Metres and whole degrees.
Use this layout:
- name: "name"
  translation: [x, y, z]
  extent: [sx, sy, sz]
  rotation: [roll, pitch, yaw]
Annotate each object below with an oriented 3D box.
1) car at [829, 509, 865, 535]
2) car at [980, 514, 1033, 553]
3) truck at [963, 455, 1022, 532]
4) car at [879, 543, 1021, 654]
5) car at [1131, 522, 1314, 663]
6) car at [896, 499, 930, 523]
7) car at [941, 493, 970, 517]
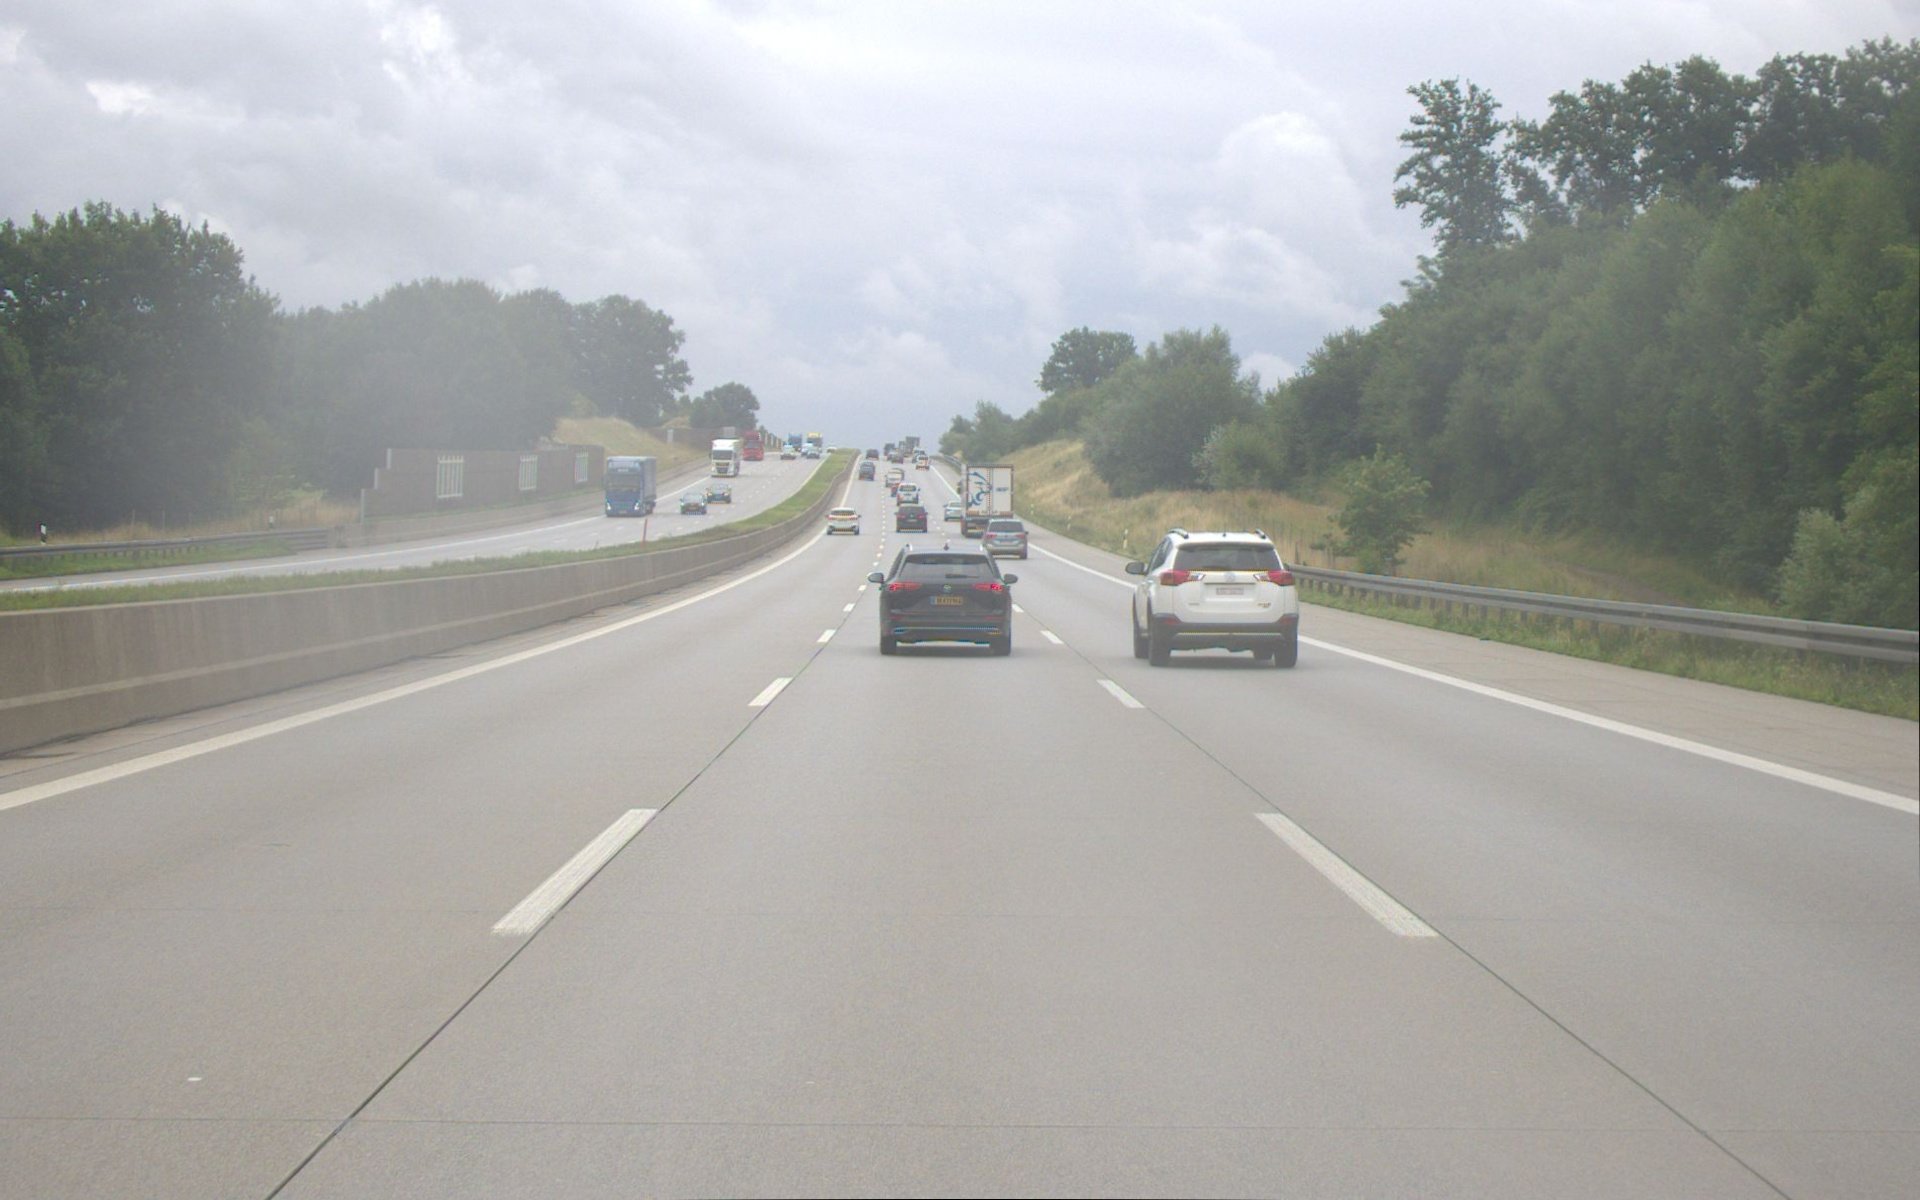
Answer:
- name: "car"
  translation: [-6.439, -4.437, 196.650]
  extent: [1.947, 1.351, 4.259]
  rotation: [0, -1, 0]
- name: "car"
  translation: [1.851, -2.698, 139.260]
  extent: [1.993, 1.525, 4.000]
  rotation: [1, 1, -1]
- name: "truck"
  translation: [1.764, -5.961, 191.347]
  extent: [3.017, 4.166, 8.355]
  rotation: [1, 2, -1]
- name: "car"
  translation: [-0.176, -0.029, 46.286]
  extent: [1.752, 1.393, 4.484]
  rotation: [1, 0, -2]
- name: "car"
  translation: [3.238, -0.124, 43.086]
  extent: [1.825, 1.650, 3.985]
  rotation: [1, 1, -2]
- name: "car"
  translation: [-2.828, -5.352, 206.249]
  extent: [1.935, 1.370, 4.595]
  rotation: [1, 1, 0]
- name: "car"
  translation: [-0.298, -6.761, 243.295]
  extent: [1.993, 1.634, 4.000]
  rotation: [1, 2, 1]
